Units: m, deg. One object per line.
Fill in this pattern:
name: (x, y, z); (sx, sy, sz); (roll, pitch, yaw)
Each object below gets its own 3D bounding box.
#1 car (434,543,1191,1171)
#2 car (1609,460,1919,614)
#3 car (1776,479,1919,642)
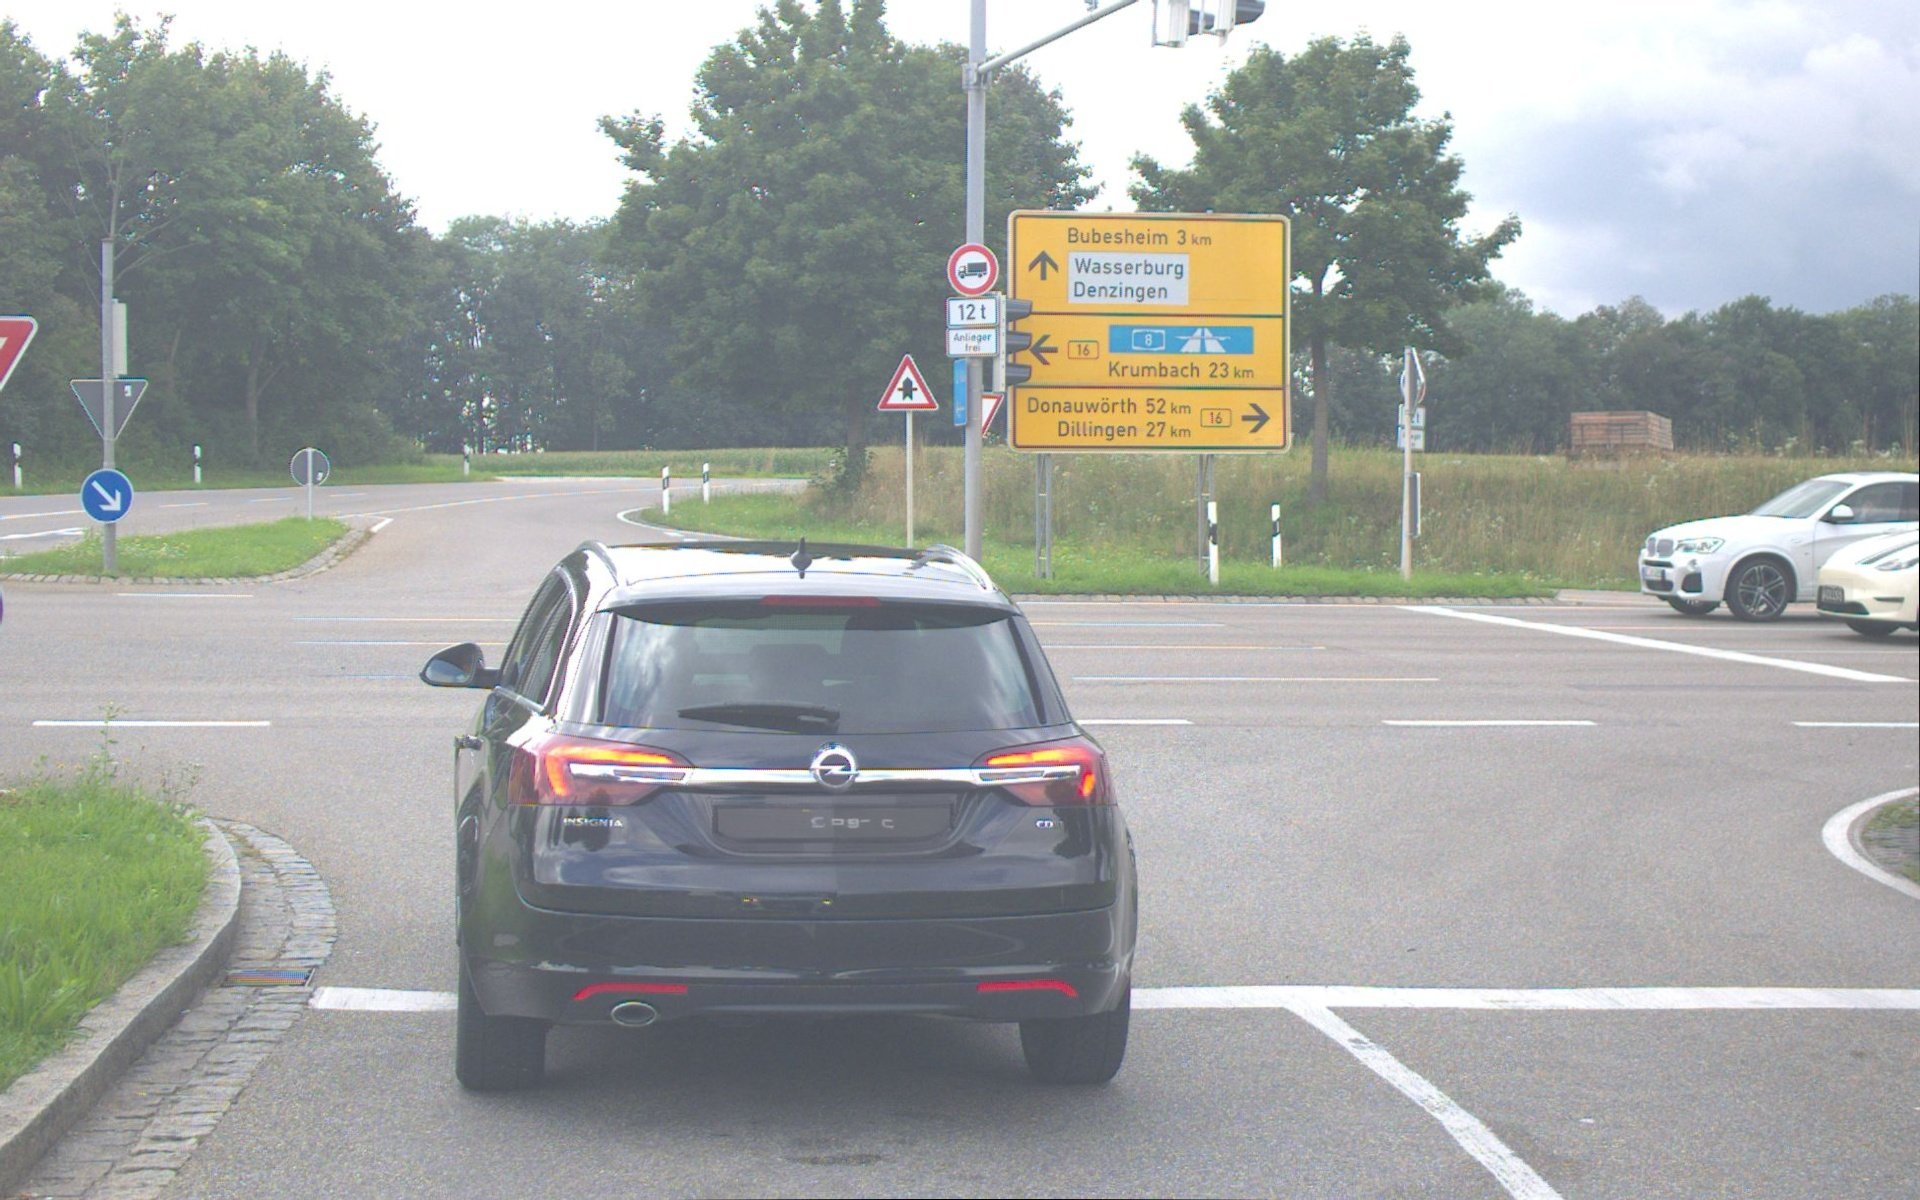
car: (-0.650, 0.584, 10.370); (1.807, 1.446, 4.274); (1, 1, -8)
car: (9.616, -0.691, 38.180); (4.259, 1.623, 2.001); (0, 1, -13)
car: (10.822, -0.387, 34.432); (4.731, 1.559, 2.001); (0, 1, -12)
